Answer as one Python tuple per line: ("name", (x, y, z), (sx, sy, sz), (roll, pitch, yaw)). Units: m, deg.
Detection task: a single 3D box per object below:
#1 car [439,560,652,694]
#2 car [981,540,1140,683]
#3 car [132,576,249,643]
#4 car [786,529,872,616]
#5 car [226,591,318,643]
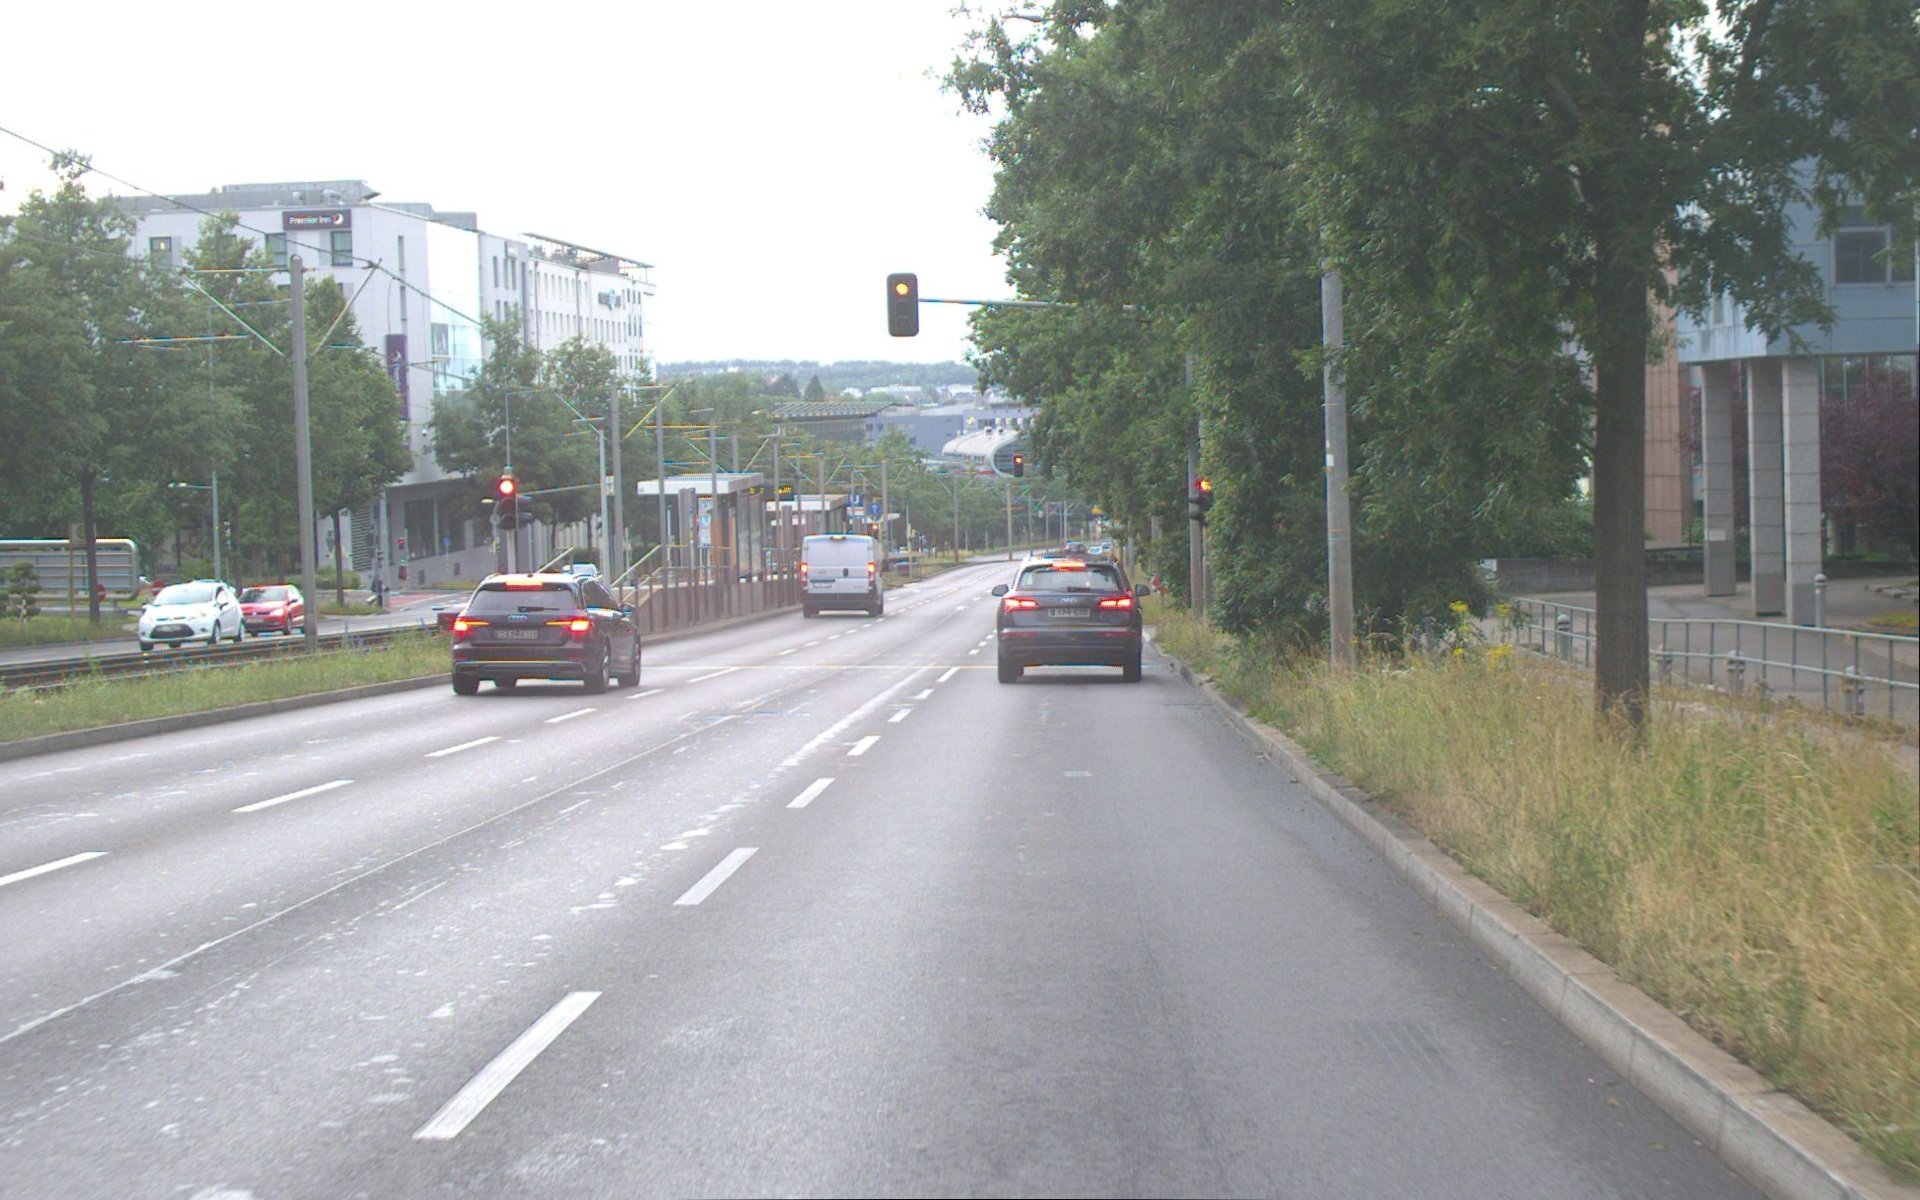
("car", (-4.926, 0.280, 41.476), (1.786, 1.409, 4.806), (0, 2, 3))
("car", (1.269, 0.108, 45.083), (1.922, 1.704, 4.099), (0, 2, -1))
("car", (-17.084, 0.196, 76.436), (1.663, 1.437, 3.896), (0, 0, 1))
("car", (-3.665, -0.795, 95.309), (2.267, 2.277, 4.760), (0, 2, -4))
("car", (-19.469, 0.468, 97.372), (1.663, 1.437, 3.896), (0, 0, 3))
